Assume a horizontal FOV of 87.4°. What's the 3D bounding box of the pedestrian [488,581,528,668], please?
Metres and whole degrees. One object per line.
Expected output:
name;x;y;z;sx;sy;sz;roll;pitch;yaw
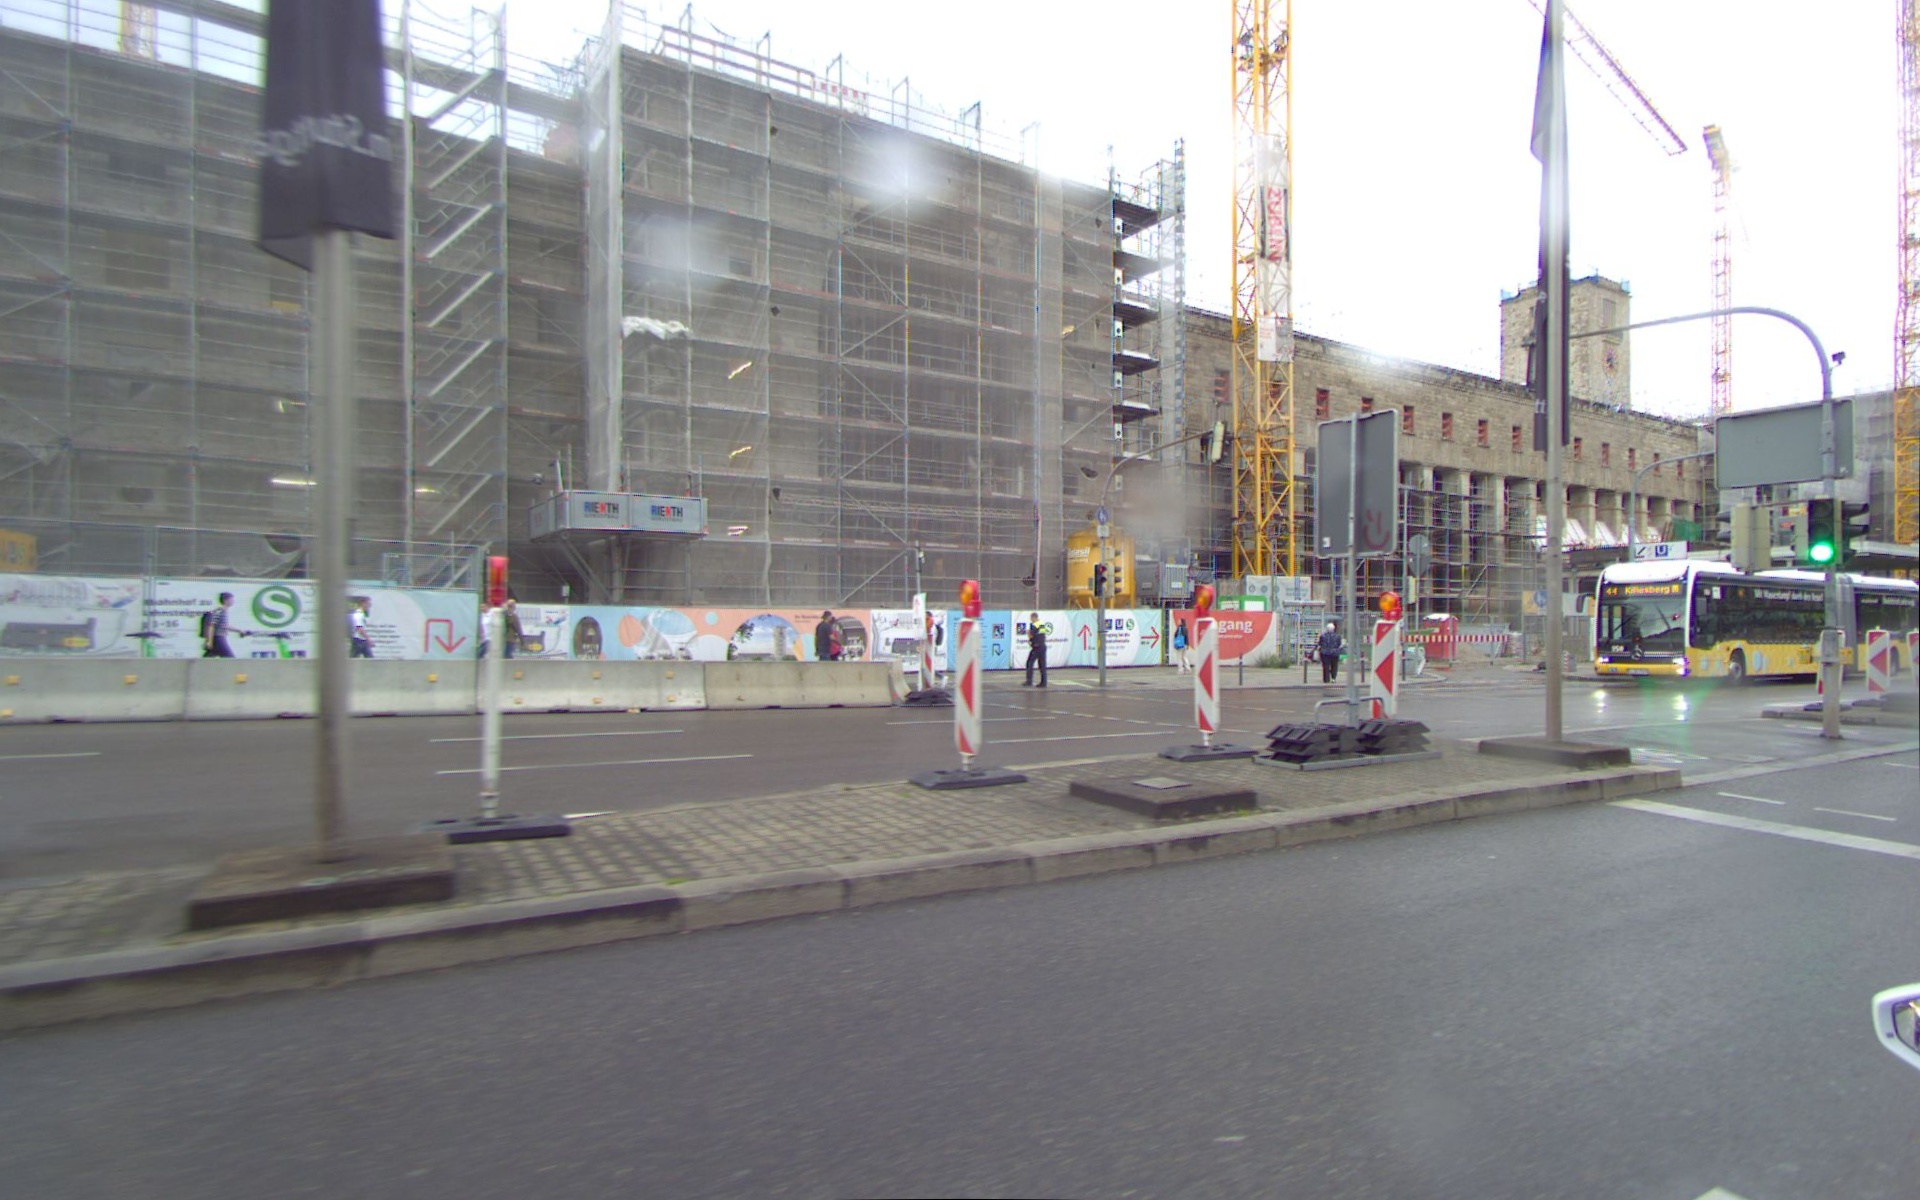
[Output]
pedestrian;-9.876;0.535;21.956;0.709;1.860;0.478;2;0;-30

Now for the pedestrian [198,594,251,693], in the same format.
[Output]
pedestrian;-14.170;0.829;19.356;0.709;1.860;0.583;2;0;-30

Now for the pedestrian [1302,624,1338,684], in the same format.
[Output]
pedestrian;9.855;1.471;27.487;0.772;1.581;0.874;2;0;26

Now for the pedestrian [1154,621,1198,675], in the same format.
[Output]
pedestrian;6.656;1.476;30.934;0.890;1.584;0.909;2;0;-33

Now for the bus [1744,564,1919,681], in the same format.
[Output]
bus;31.402;0.866;35.146;10.092;3.649;2.655;2;0;-31

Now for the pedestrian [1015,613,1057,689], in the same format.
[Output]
pedestrian;1.913;1.278;25.158;0.810;1.860;0.575;2;0;-30

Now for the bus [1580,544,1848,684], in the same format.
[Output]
bus;22.668;0.523;29.951;10.120;3.649;2.655;2;0;-31

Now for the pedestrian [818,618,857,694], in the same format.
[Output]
pedestrian;-2.889;1.314;23.634;0.613;1.740;0.794;2;-2;-33

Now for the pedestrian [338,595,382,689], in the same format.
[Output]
pedestrian;-12.118;0.835;20.304;0.709;1.860;0.478;2;0;-30

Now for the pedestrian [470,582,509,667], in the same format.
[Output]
pedestrian;-10.584;0.551;22.603;0.709;1.860;0.478;2;0;-30

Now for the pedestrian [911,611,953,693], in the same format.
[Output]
pedestrian;-0.679;1.249;24.338;0.614;1.915;0.792;2;0;-38

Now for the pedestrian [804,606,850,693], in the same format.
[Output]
pedestrian;-2.937;1.087;22.204;0.810;1.860;0.575;2;0;-30
